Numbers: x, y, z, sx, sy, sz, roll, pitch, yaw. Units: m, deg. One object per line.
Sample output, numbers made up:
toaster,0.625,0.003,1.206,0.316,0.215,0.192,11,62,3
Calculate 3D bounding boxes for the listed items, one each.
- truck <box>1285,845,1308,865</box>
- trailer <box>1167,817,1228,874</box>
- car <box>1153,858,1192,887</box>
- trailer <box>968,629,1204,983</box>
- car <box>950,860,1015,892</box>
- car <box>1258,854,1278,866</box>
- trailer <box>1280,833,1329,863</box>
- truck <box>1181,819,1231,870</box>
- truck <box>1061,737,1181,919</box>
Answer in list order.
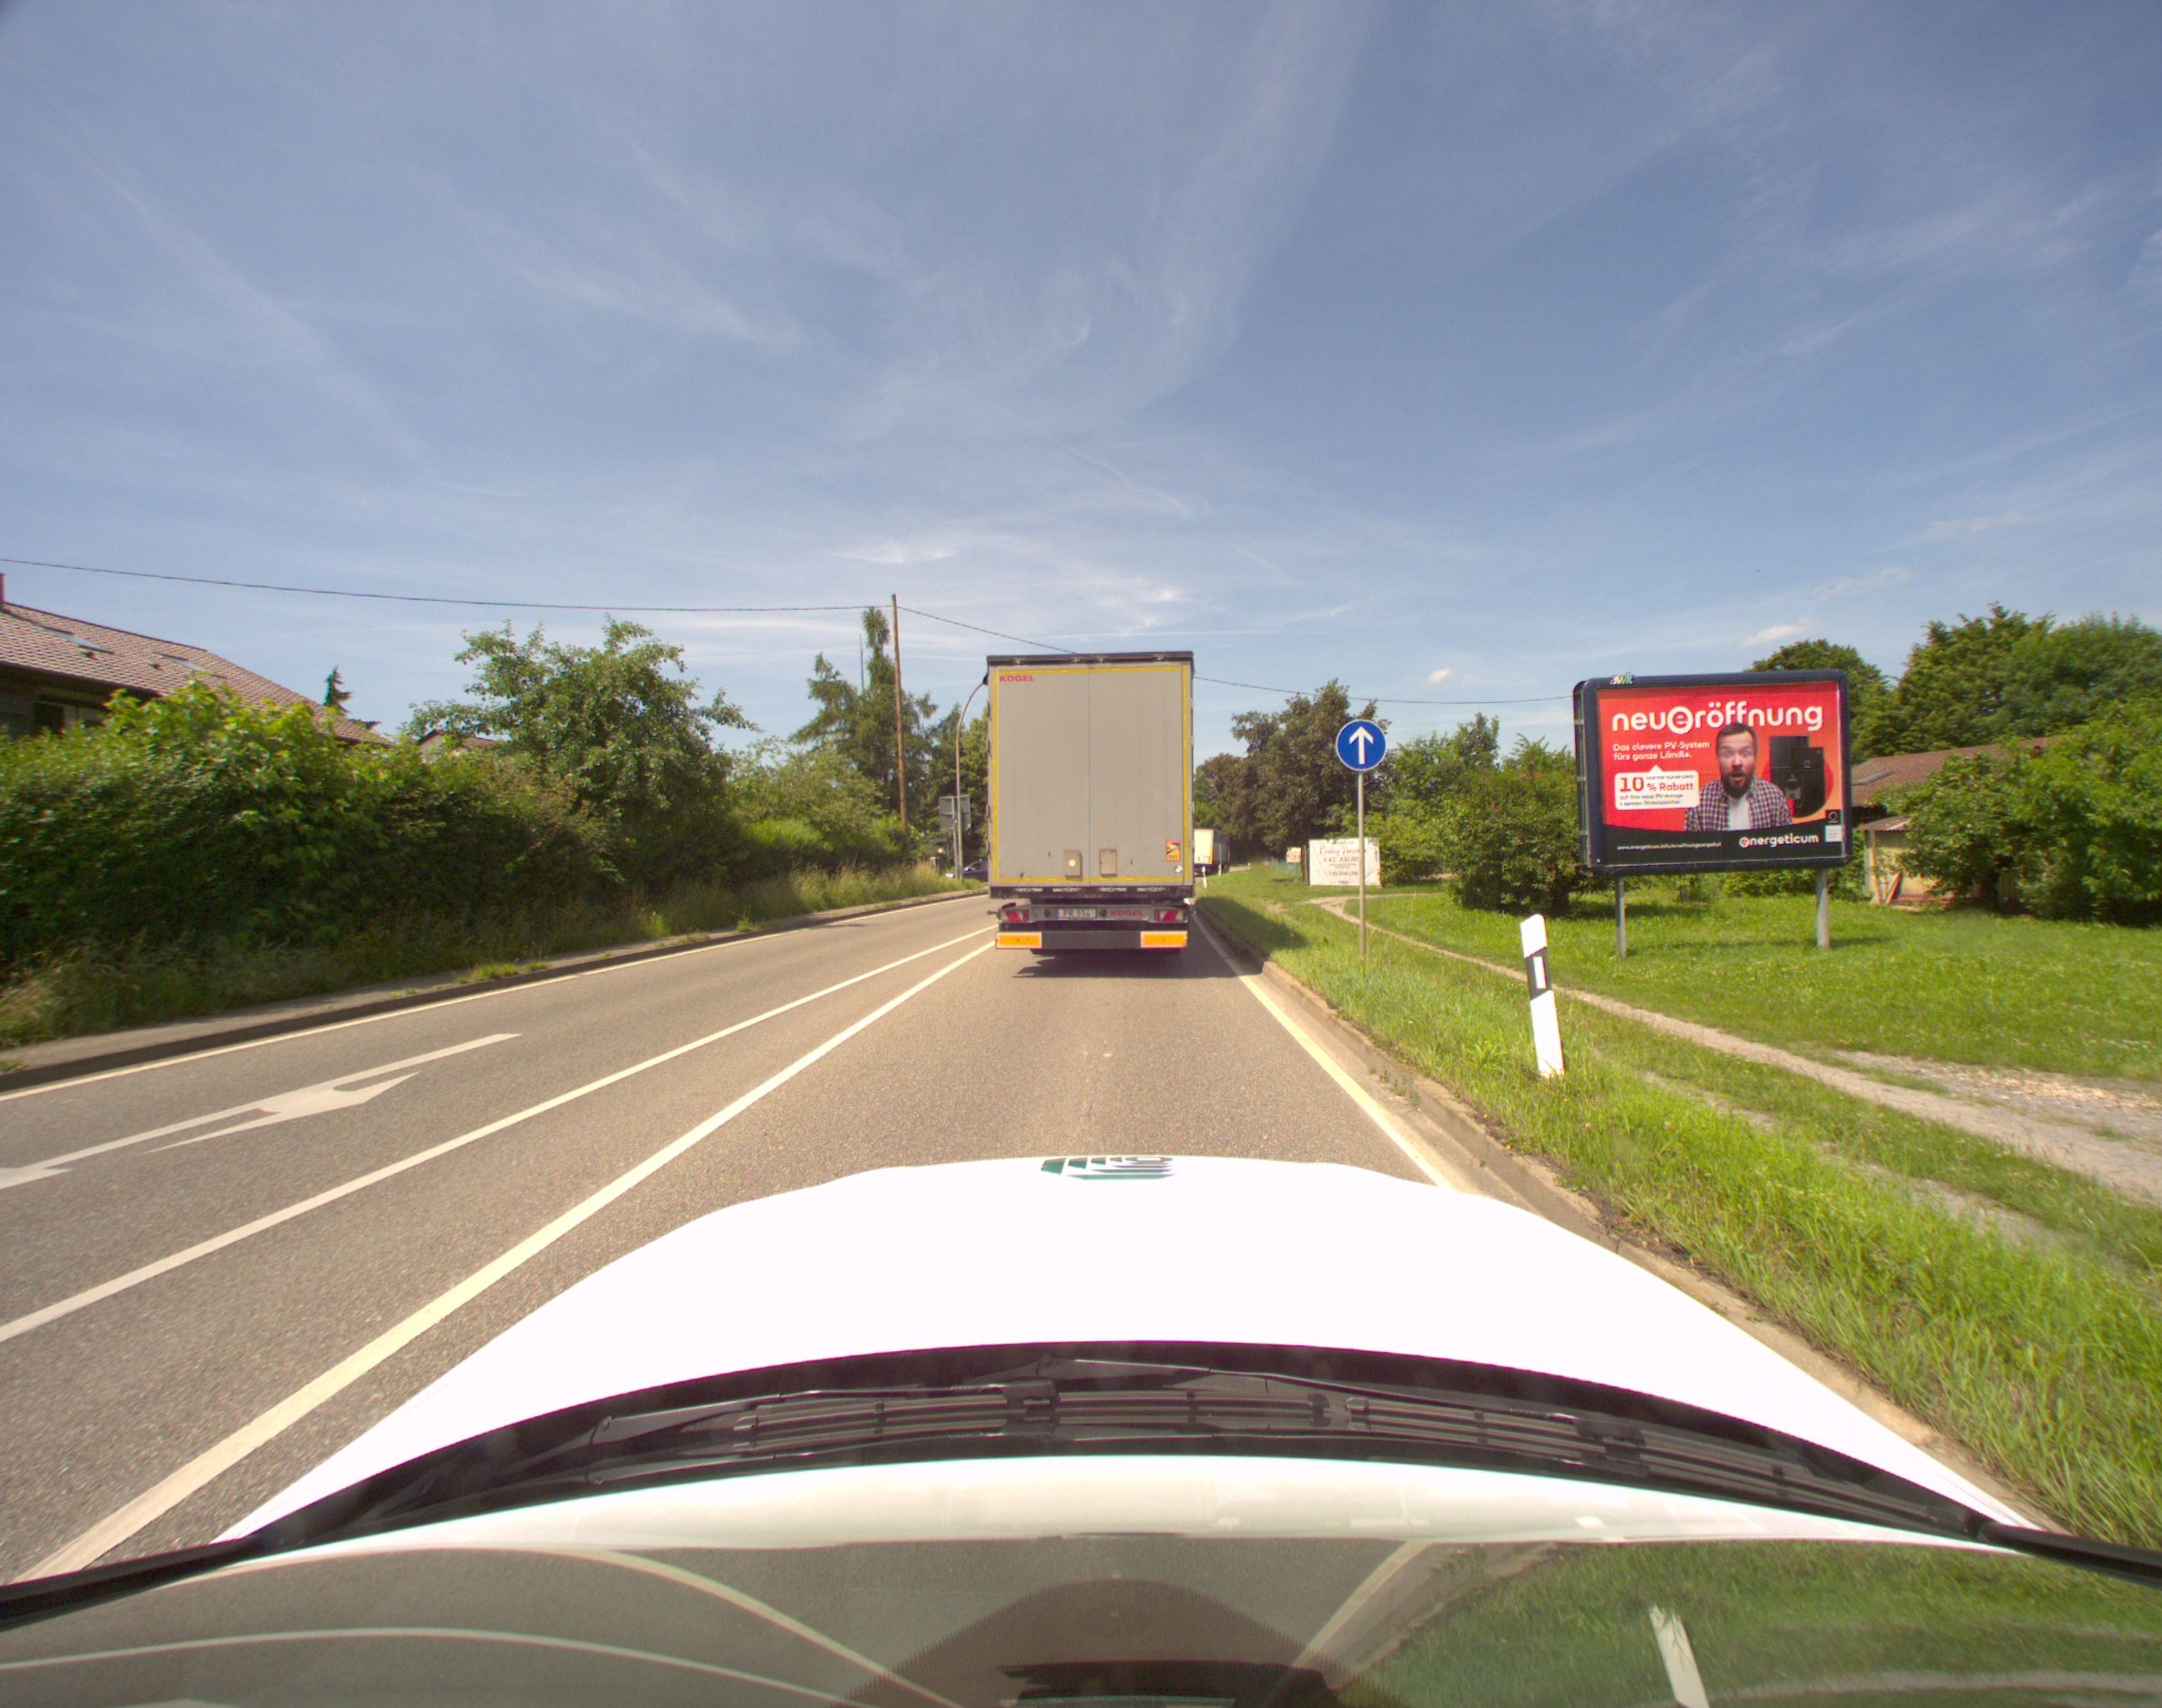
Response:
truck,31.993,0.172,120.882,2.399,2.838,5.443,-1,0,24
trailer,10.552,-0.685,72.451,3.863,4.521,12.762,-1,0,14
car,5.313,1.036,46.965,1.982,1.530,4.010,-1,0,9
trailer,0.625,-0.601,15.819,2.773,4.205,12.130,-1,0,5
car,-6.591,1.438,54.305,4.073,2.013,1.991,-1,0,-13
car,25.193,0.842,109.509,1.825,1.486,4.023,-1,0,24
trailer,37.843,-1.057,137.153,5.132,4.628,15.988,-1,0,25
truck,12.252,-0.872,79.133,3.908,4.574,7.180,-1,0,15
truck,1.219,-0.616,21.982,2.732,4.165,6.152,-1,0,6
